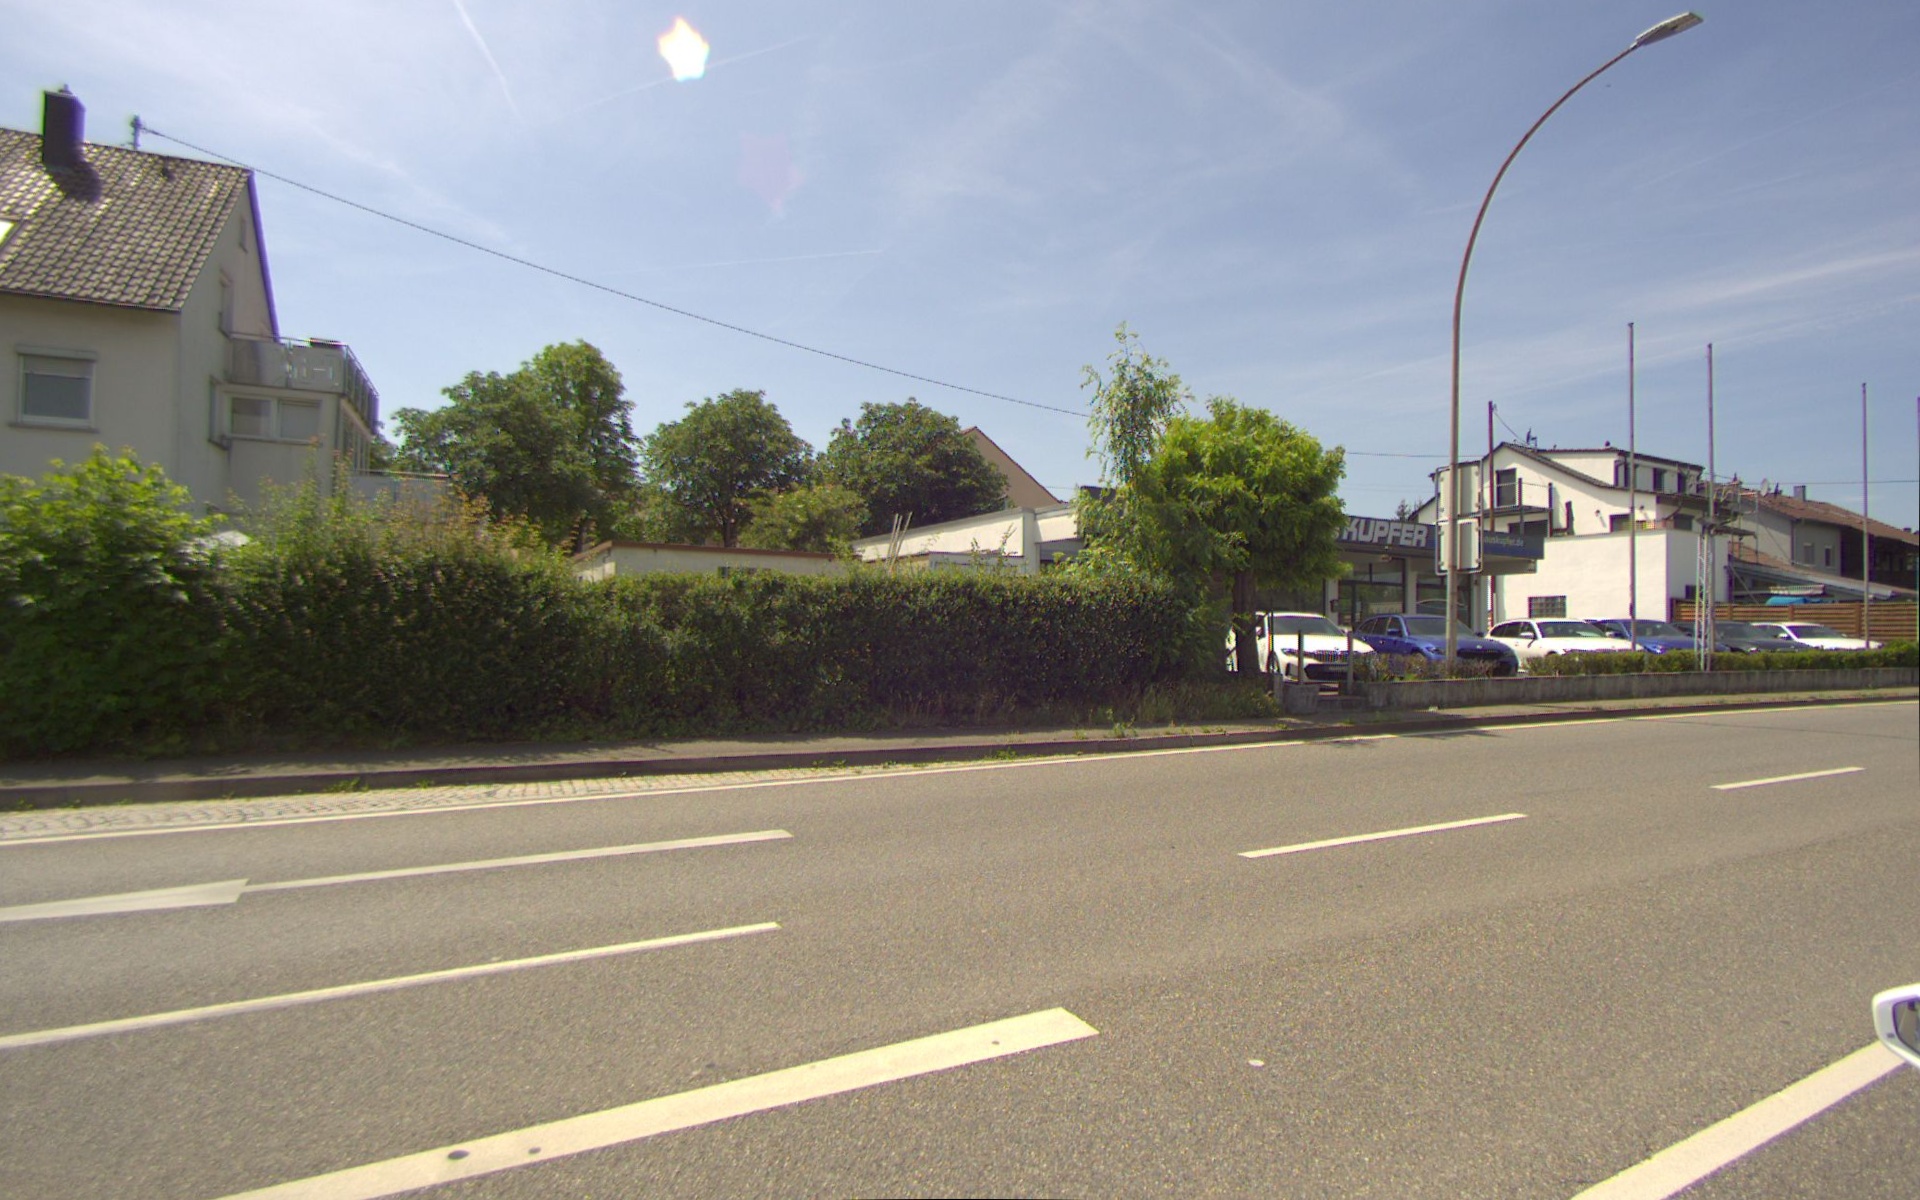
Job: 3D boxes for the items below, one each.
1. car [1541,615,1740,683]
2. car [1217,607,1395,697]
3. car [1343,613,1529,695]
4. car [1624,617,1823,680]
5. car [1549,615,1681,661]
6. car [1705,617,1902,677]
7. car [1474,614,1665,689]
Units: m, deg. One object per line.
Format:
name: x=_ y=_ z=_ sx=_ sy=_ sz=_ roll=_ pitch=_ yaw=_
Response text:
car: x=17.028 y=1.179 z=25.436 sx=1.822 sy=1.466 sz=4.339 roll=2 pitch=0 yaw=-5
car: x=6.486 y=0.908 z=19.409 sx=1.820 sy=1.466 sz=4.581 roll=2 pitch=0 yaw=0
car: x=9.798 y=1.041 z=21.090 sx=1.820 sy=1.466 sz=4.342 roll=2 pitch=0 yaw=0
car: x=20.373 y=1.240 z=27.062 sx=1.862 sy=1.466 sz=4.340 roll=2 pitch=0 yaw=-3
car: x=24.580 y=1.394 z=37.861 sx=1.804 sy=1.530 sz=3.987 roll=1 pitch=0 yaw=-15
car: x=23.979 y=1.296 z=28.812 sx=1.821 sy=1.466 sz=4.340 roll=2 pitch=0 yaw=-3
car: x=13.803 y=1.105 z=23.107 sx=1.820 sy=1.467 sz=4.517 roll=1 pitch=0 yaw=3
